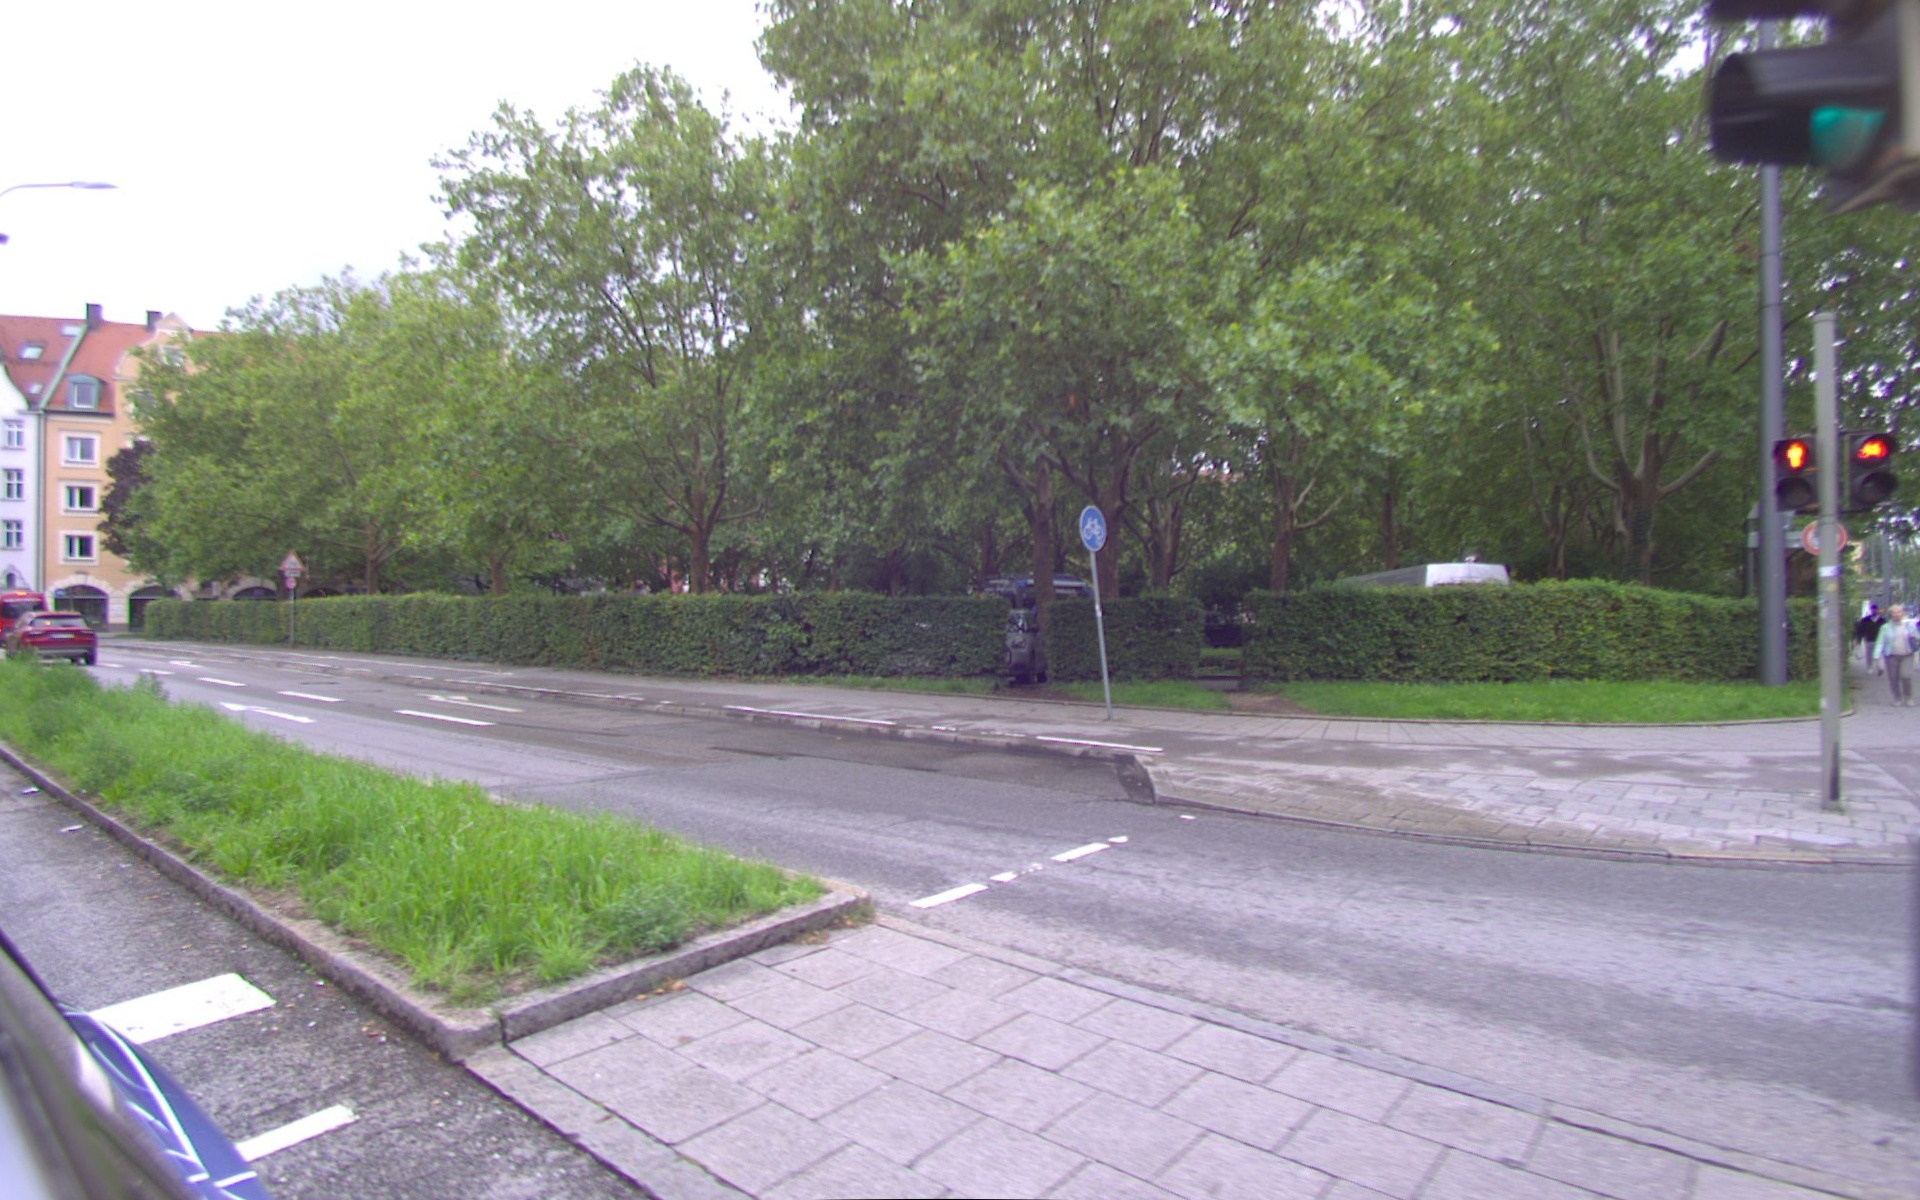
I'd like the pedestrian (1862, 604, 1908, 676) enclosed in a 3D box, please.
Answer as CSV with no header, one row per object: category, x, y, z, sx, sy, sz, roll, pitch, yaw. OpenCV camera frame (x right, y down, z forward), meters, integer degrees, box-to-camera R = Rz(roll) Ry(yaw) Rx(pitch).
pedestrian,23.787,1.022,26.040,0.682,1.824,0.655,-1,-2,28

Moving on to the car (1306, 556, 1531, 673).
car,9.339,0.423,21.168,1.968,2.029,4.635,-1,-6,-8

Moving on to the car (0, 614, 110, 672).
car,-28.467,1.348,31.624,4.935,1.650,2.082,-2,-3,40

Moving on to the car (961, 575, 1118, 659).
car,2.738,0.465,33.415,2.000,2.554,5.780,0,1,43

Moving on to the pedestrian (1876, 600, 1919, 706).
pedestrian,15.337,0.851,16.326,0.683,1.676,0.549,-1,-2,28

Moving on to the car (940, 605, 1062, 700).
car,0.946,1.020,21.422,1.762,1.776,3.504,0,1,17

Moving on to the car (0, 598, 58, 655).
car,-45.311,1.321,48.838,6.081,2.609,2.080,-3,-3,43
